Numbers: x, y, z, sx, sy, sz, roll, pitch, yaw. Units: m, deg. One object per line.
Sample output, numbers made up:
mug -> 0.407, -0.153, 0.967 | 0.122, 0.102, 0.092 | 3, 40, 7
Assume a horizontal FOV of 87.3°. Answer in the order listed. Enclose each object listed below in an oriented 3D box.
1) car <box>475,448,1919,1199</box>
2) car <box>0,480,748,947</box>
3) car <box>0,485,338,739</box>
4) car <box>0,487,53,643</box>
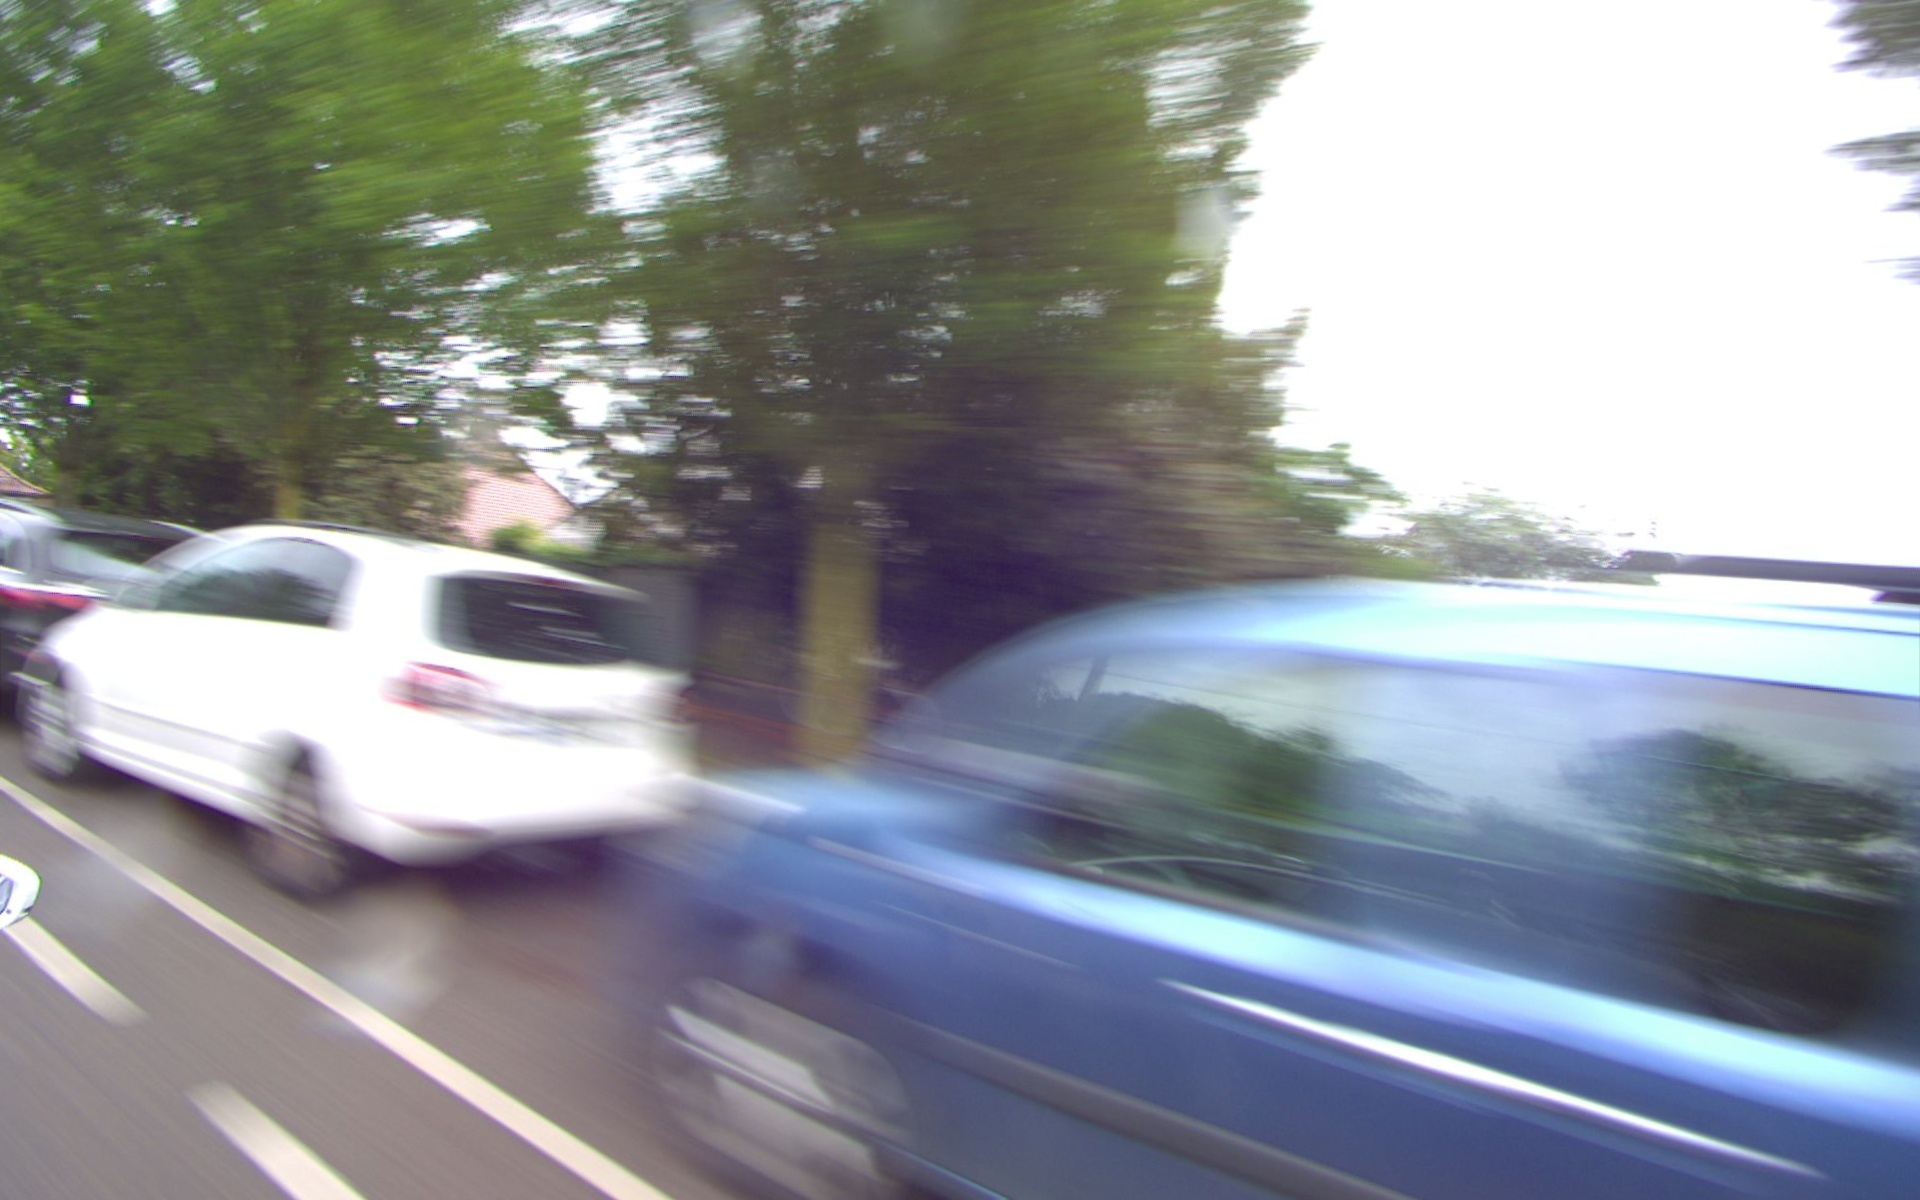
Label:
car -> 0.944, 0.779, 2.665 | 4.352, 1.872, 1.782 | 7, -3, 32
car -> -3.460, 0.399, 5.647 | 4.152, 1.627, 1.788 | 7, -2, 30
car -> -7.437, -0.032, 8.222 | 4.770, 1.554, 1.998 | 6, -3, 33
car -> -11.819, -0.605, 11.044 | 3.859, 1.588, 1.696 | 6, -3, 33
